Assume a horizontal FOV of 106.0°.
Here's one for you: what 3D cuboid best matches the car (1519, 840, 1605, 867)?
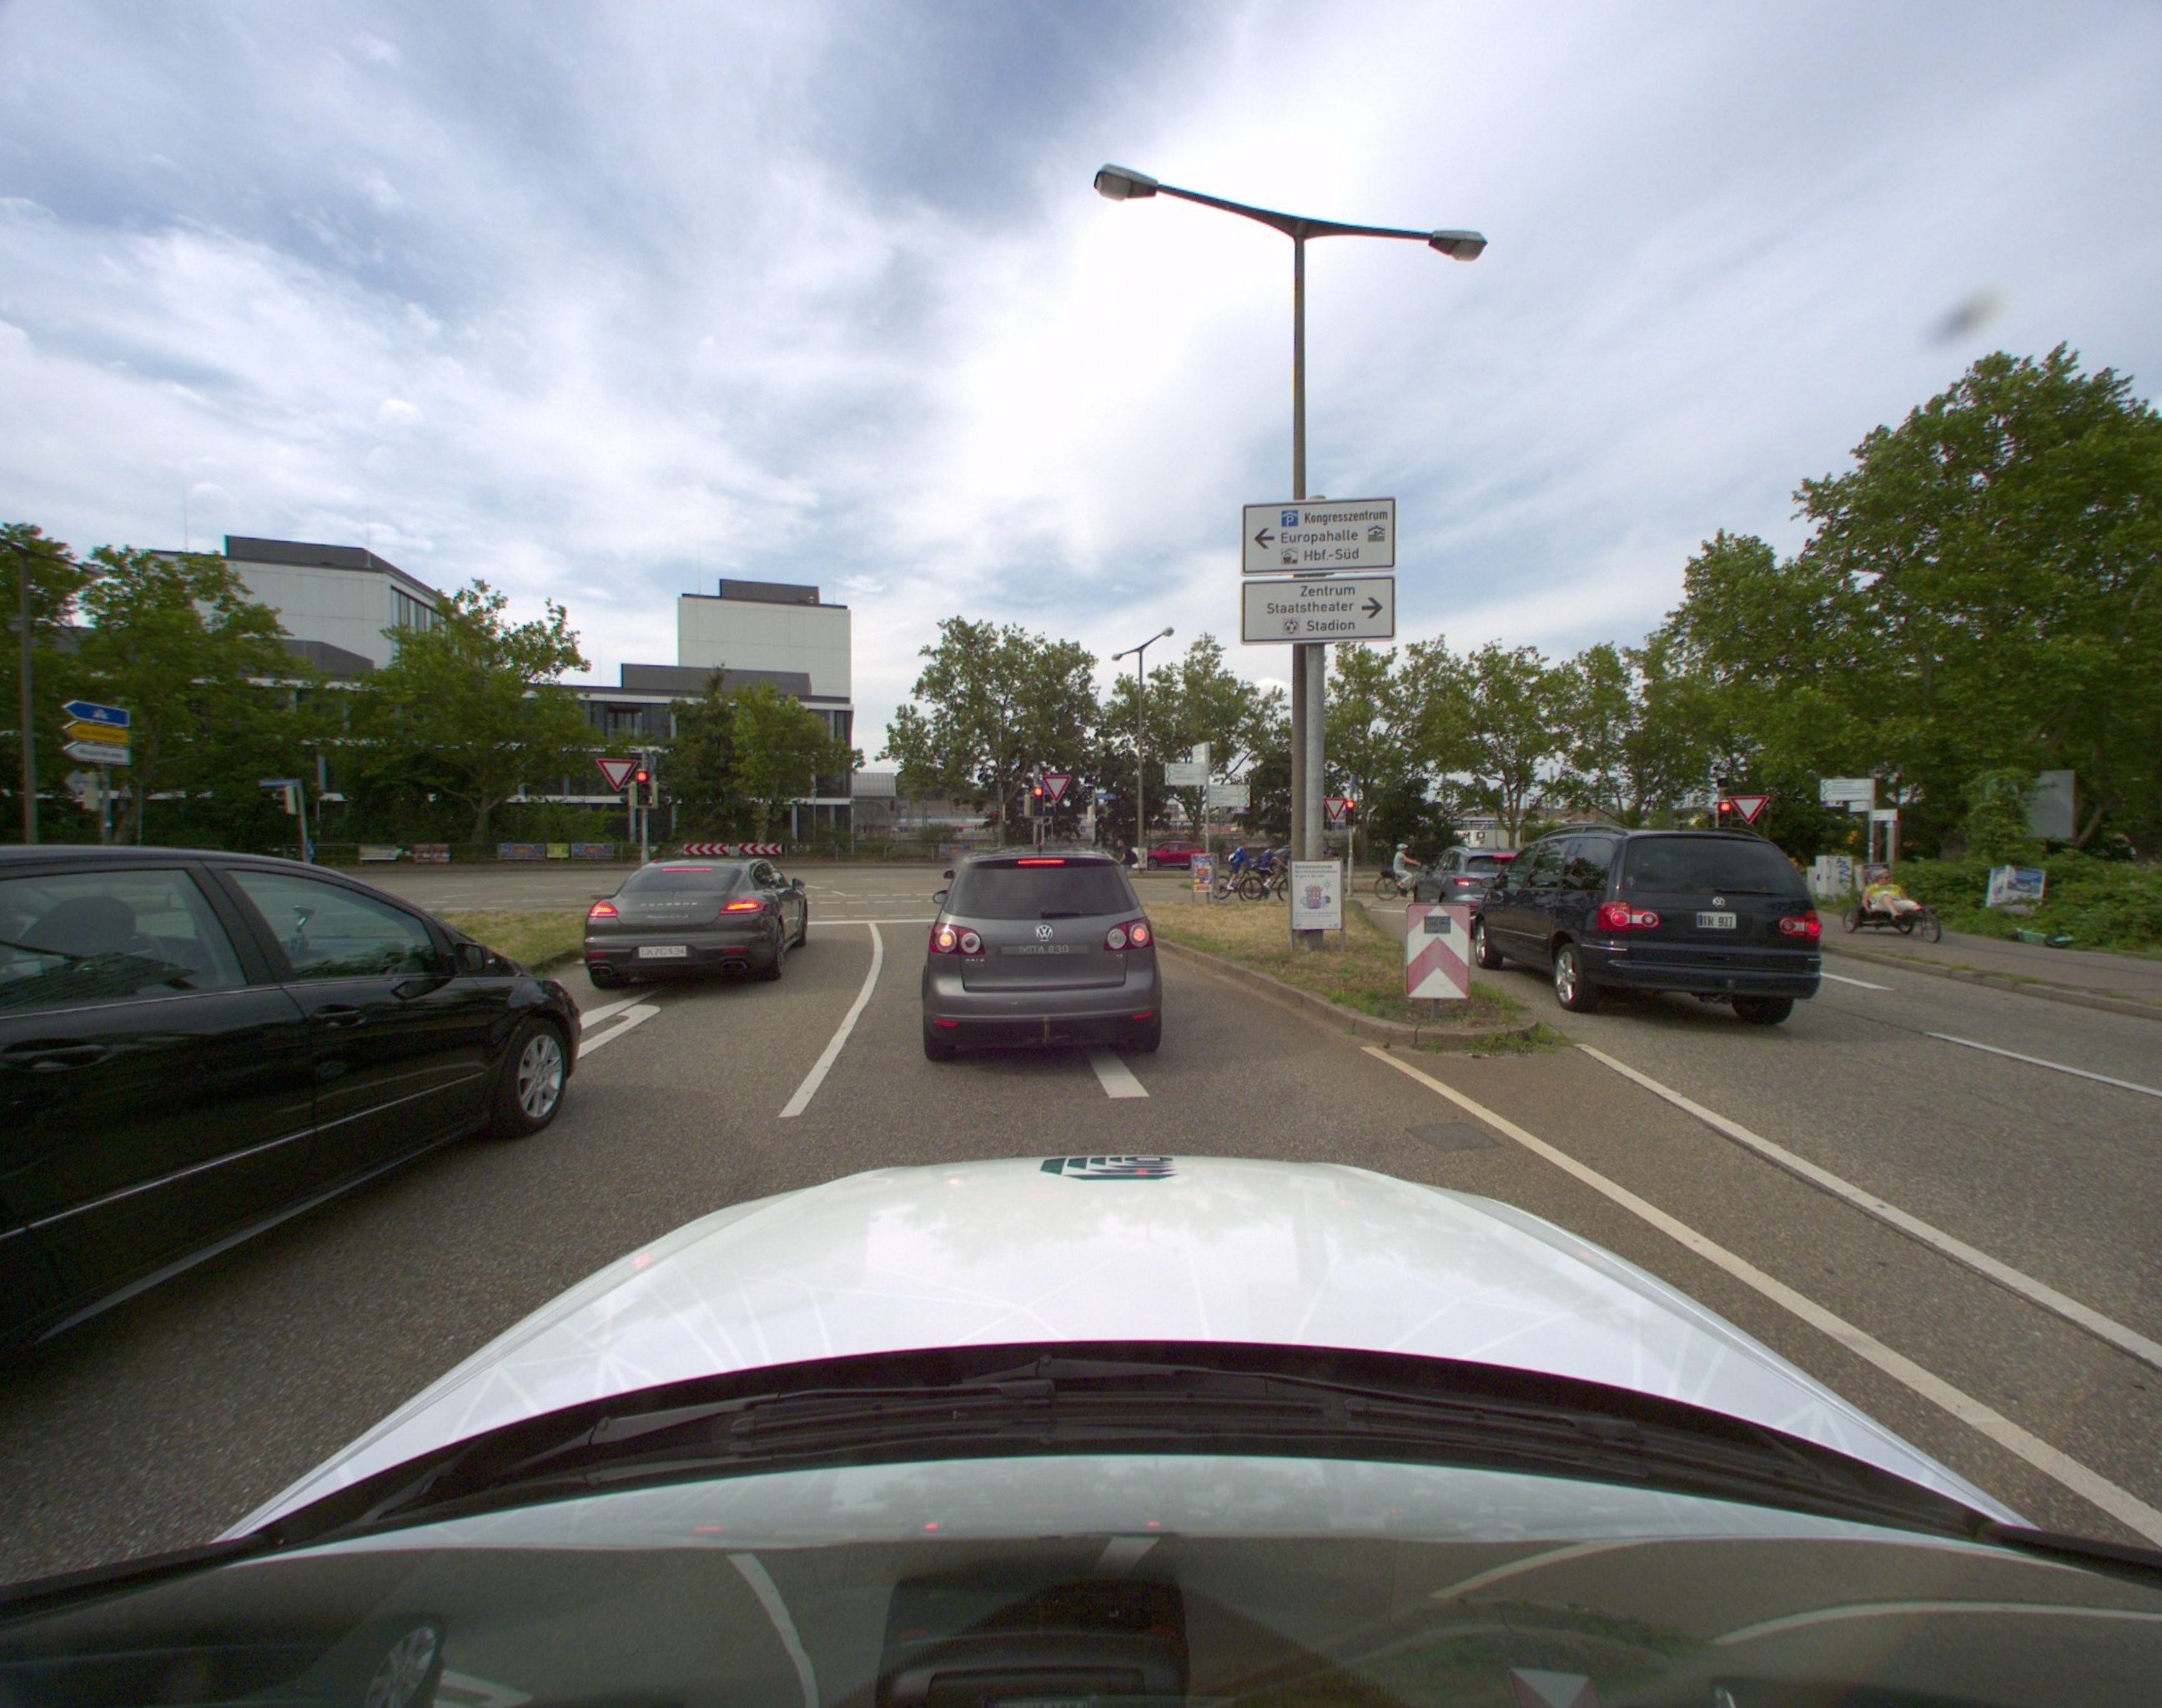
[{"bbox_3d":[27.730,-0.047,46.980,4.336,1.448,1.752,-1,0,-15],"label":"car"}]

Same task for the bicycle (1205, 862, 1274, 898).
[{"bbox_3d":[4.616,0.747,23.766,1.904,1.013,0.625,-1,1,-16],"label":"bicycle"}]

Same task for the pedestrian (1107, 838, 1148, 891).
[{"bbox_3d":[1.534,0.329,27.082,1.054,1.710,0.845,0,1,-32],"label":"pedestrian"}]

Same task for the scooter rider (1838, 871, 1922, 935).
[{"bbox_3d":[14.926,0.897,15.241,0.799,1.137,0.922,-2,-1,22],"label":"scooter rider"}]

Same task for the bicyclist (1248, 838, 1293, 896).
[{"bbox_3d":[5.095,0.341,21.950,1.018,1.539,0.625,-1,1,-15],"label":"bicyclist"}]

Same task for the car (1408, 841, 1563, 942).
[{"bbox_3d":[7.402,0.609,15.312,1.679,1.585,4.171,2,0,13],"label":"car"}]

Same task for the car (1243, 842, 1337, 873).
[{"bbox_3d":[10.492,0.155,40.952,4.336,1.448,1.752,-1,0,-15],"label":"car"}]

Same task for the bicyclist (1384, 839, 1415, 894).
[{"bbox_3d":[9.387,0.355,24.002,0.774,1.581,0.657,0,1,14],"label":"bicyclist"}]

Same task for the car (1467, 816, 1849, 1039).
[{"bbox_3d":[5.586,0.573,8.613,1.739,1.724,4.151,2,0,11],"label":"car"}]

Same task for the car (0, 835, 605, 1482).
[{"bbox_3d":[-3.640,0.729,2.975,1.755,1.575,4.028,0,1,-6],"label":"car"}]

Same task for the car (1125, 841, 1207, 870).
[{"bbox_3d":[4.486,0.079,42.980,3.963,1.448,1.692,-1,0,-19],"label":"car"}]

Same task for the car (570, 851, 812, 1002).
[{"bbox_3d":[-4.620,0.696,10.441,1.821,1.414,4.754,0,1,-13],"label":"car"}]

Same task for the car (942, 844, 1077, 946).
[{"bbox_3d":[-1.382,0.598,14.119,1.743,1.482,4.063,-1,0,-14],"label":"car"}]

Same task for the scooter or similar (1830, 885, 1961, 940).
[{"bbox_3d":[14.785,1.040,14.880,0.799,0.849,2.399,-2,-1,22],"label":"scooter or similar"}]

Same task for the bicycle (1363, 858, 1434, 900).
[{"bbox_3d":[9.343,0.726,24.014,1.887,1.210,0.645,0,1,13],"label":"bicycle"}]

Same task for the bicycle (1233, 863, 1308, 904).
[{"bbox_3d":[5.114,0.781,21.975,1.904,1.013,0.625,-1,1,-16],"label":"bicycle"}]

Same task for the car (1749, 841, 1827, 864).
[{"bbox_3d":[45.980,-0.105,52.991,4.336,1.448,1.752,-1,0,-15],"label":"car"}]

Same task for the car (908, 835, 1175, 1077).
[{"bbox_3d":[-0.449,0.647,7.374,1.739,1.546,4.073,-1,0,-6],"label":"car"}]

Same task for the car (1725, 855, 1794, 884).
[{"bbox_3d":[35.505,0.806,42.652,2.714,1.422,1.492,0,0,-14],"label":"car"}]

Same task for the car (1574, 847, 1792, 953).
[{"bbox_3d":[10.942,0.742,15.201,1.738,1.643,4.152,2,0,13],"label":"car"}]

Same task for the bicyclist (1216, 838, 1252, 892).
[{"bbox_3d":[4.453,0.309,23.714,0.840,1.529,0.625,-1,1,-15],"label":"bicyclist"}]
